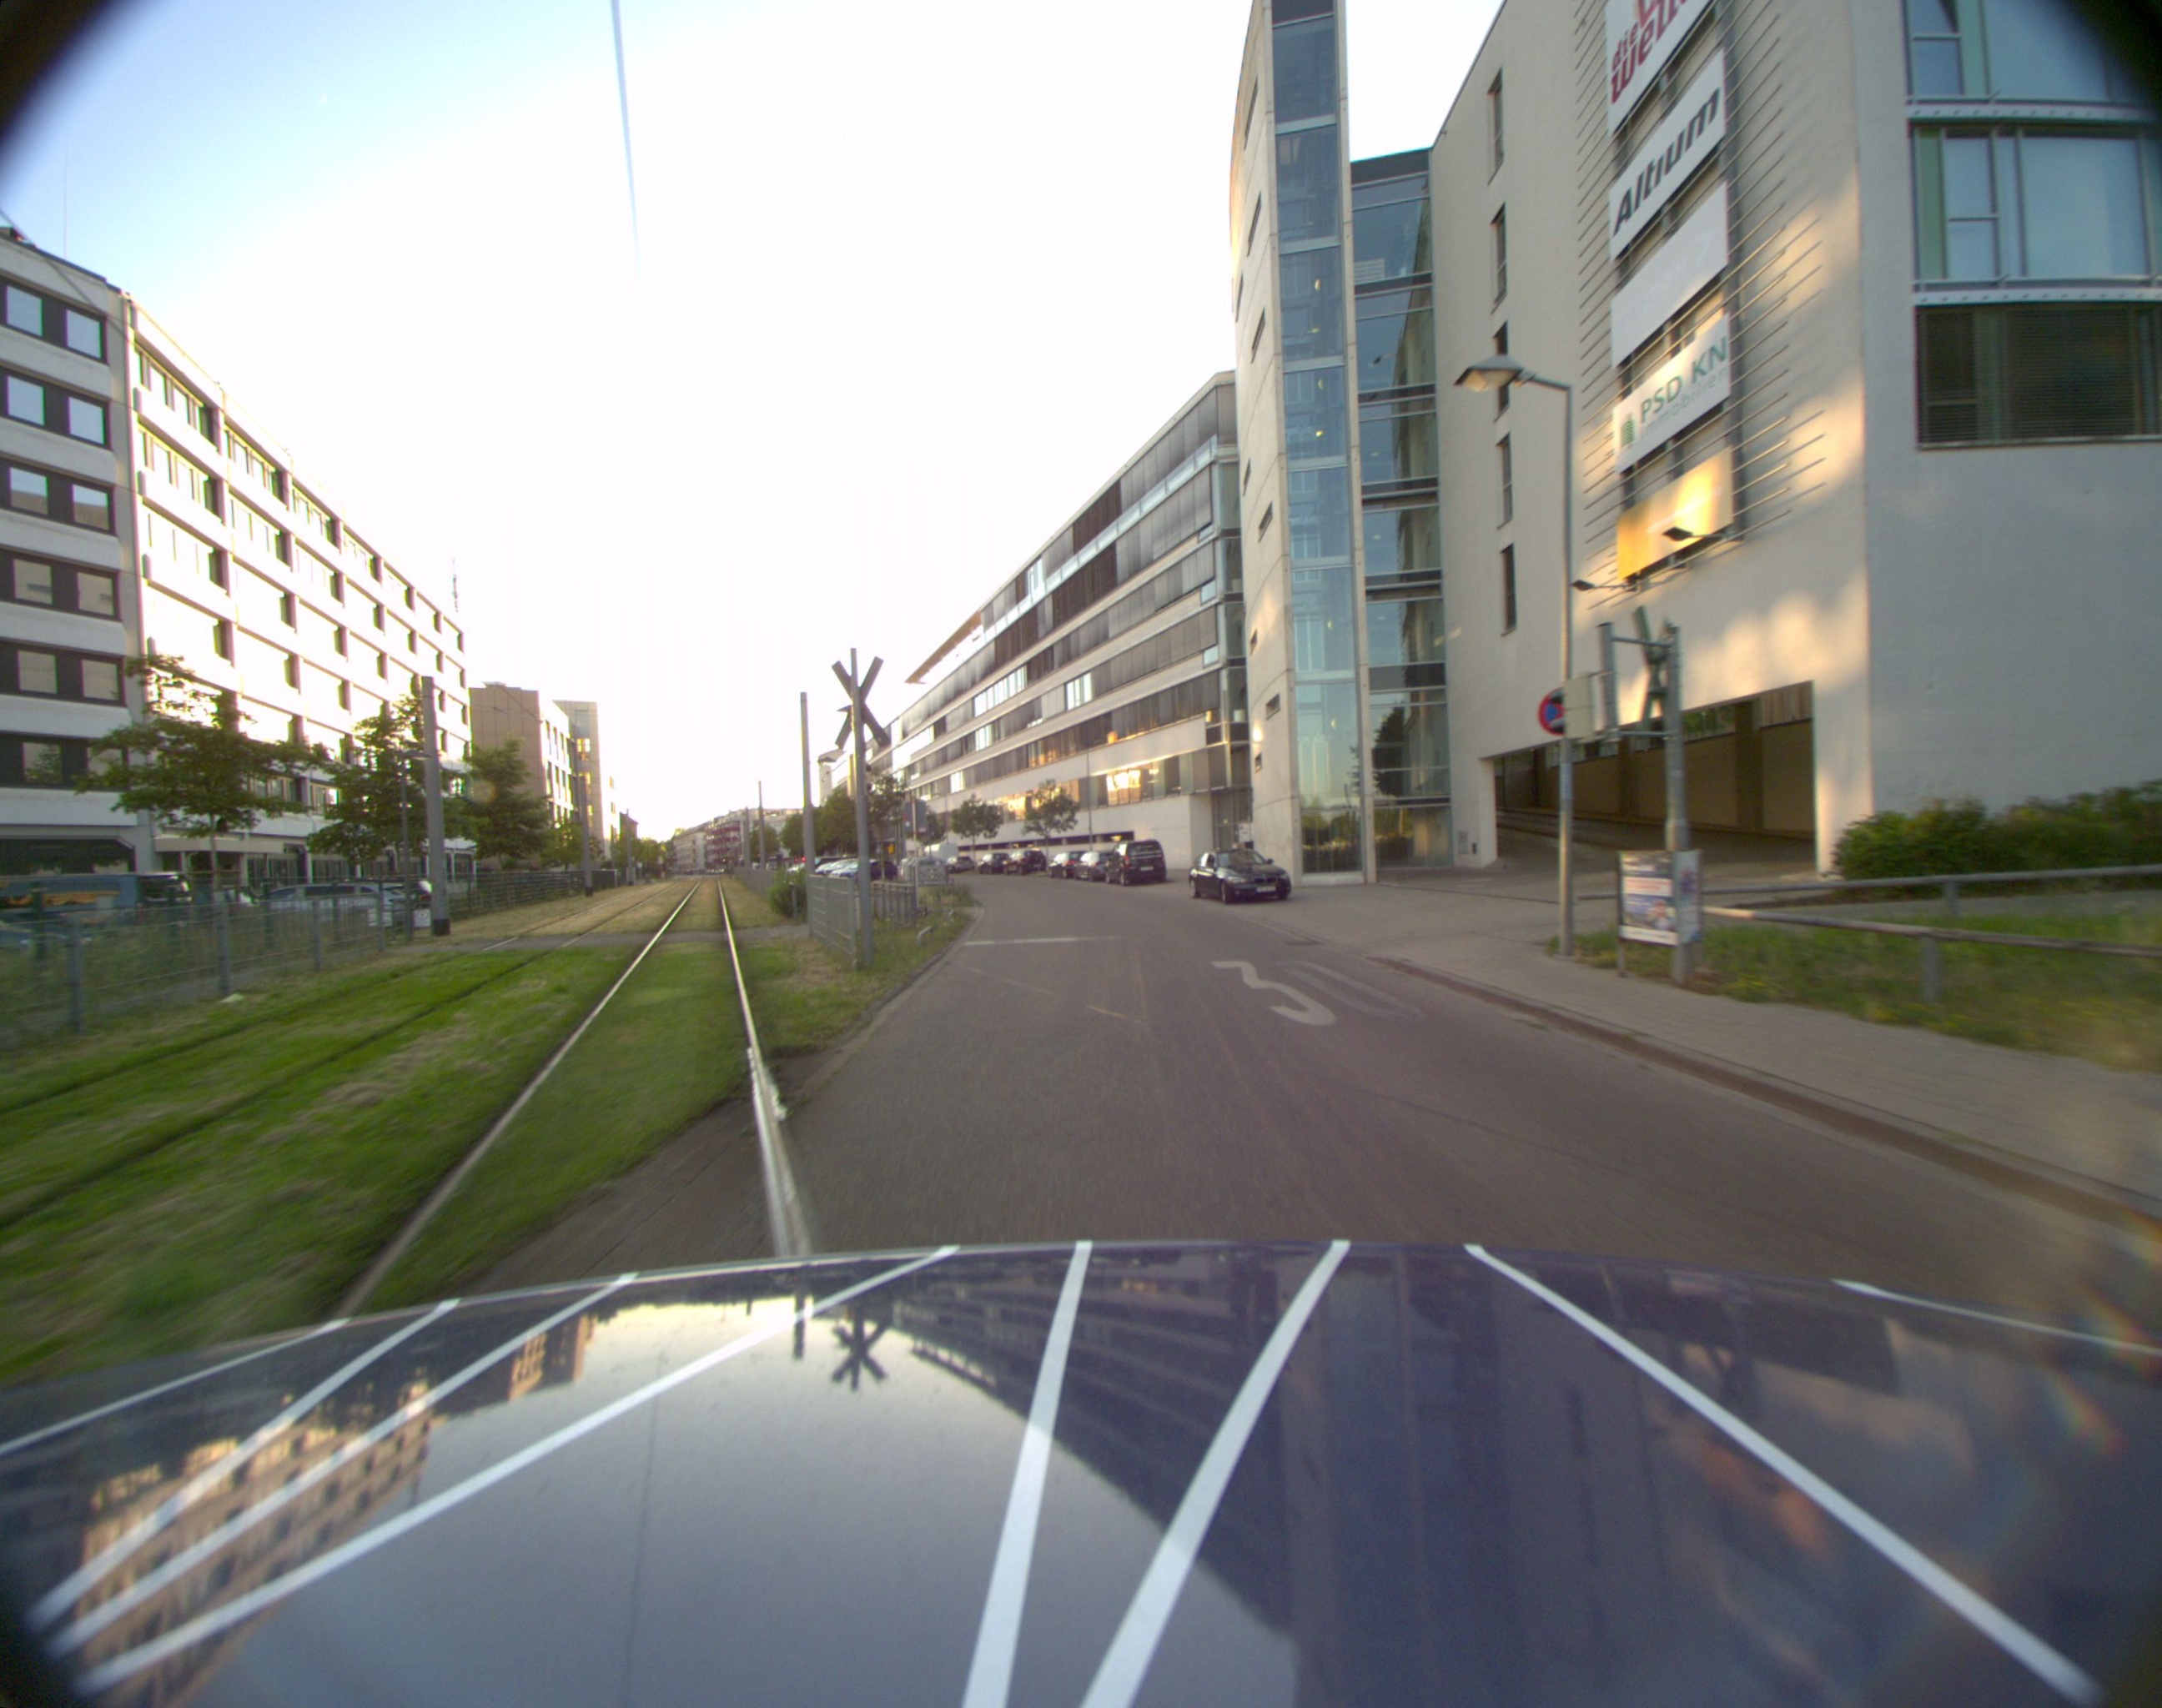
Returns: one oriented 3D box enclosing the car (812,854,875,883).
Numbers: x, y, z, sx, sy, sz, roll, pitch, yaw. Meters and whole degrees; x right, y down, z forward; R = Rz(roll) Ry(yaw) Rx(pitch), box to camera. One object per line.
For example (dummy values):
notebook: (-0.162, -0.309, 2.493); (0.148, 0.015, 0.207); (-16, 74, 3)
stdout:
car: (-16.285, 0.971, 52.249); (1.713, 1.746, 4.007); (-2, 0, 29)

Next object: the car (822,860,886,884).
car: (-14.843, 1.143, 49.906); (1.714, 1.368, 4.006); (-2, 0, 27)

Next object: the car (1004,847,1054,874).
car: (-3.462, 0.421, 49.965); (1.800, 1.676, 3.991); (1, -1, -27)

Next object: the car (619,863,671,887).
car: (-40.518, 1.958, 70.707); (4.005, 2.002, 1.996); (-3, 1, -27)

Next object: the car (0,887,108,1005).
car: (-20.978, 1.734, 13.491); (4.004, 2.002, 1.996); (-3, 0, -24)

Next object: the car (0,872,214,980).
car: (-21.620, 1.495, 15.919); (4.004, 2.002, 1.996); (-3, 1, -24)

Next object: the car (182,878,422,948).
car: (-22.319, 1.627, 22.033); (4.410, 1.584, 1.814); (-3, 1, -24)

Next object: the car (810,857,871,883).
car: (-17.366, 1.130, 55.007); (1.713, 1.634, 4.007); (-2, 0, 29)

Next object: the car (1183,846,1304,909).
car: (4.383, 0.592, 21.216); (1.858, 1.434, 4.225); (-5, 1, -9)

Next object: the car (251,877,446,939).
car: (-23.066, 1.653, 24.157); (4.004, 1.584, 1.814); (-3, 1, -24)

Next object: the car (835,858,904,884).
car: (-12.884, 0.996, 46.481); (1.714, 1.368, 4.006); (-2, 0, 27)

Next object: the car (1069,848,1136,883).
car: (0.961, 0.559, 37.028); (1.867, 1.468, 4.514); (-5, 1, -16)

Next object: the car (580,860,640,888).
car: (-38.813, 1.630, 62.734); (4.005, 2.002, 1.996); (-3, 1, -27)

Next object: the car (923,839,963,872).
car: (-12.563, 0.163, 68.806); (2.008, 2.859, 6.243); (-1, 0, -24)

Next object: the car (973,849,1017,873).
car: (-6.318, 0.518, 55.562); (1.799, 1.542, 3.991); (-5, 1, -27)

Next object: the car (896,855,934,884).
car: (-9.255, 0.826, 42.270); (1.633, 1.503, 3.412); (-2, 0, -19)

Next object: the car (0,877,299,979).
car: (-22.827, 1.721, 18.819); (4.279, 2.002, 1.996); (-3, 1, -24)

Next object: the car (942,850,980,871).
car: (-10.065, 0.538, 63.516); (1.800, 1.692, 3.991); (-1, 0, -30)

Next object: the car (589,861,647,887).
car: (-39.798, 1.689, 65.448); (4.005, 2.002, 1.996); (-3, 1, -27)

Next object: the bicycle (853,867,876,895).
bicycle: (-9.435, 1.163, 33.159); (0.542, 1.128, 1.925); (-3, 0, -3)

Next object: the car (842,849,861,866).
car: (-34.859, 0.532, 115.247); (2.002, 2.570, 3.991); (-3, 1, -27)

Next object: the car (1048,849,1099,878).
car: (-0.438, 0.512, 41.629); (1.654, 1.468, 3.760); (-2, 0, -19)

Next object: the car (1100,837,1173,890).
car: (2.263, 0.392, 32.295); (1.895, 1.961, 4.513); (-5, 1, -10)

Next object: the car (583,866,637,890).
car: (-43.851, 2.216, 70.837); (4.005, 2.002, 1.996); (-3, 1, -27)

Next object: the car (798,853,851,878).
car: (-22.242, 0.962, 65.962); (1.713, 1.948, 4.180); (-2, 0, 29)
